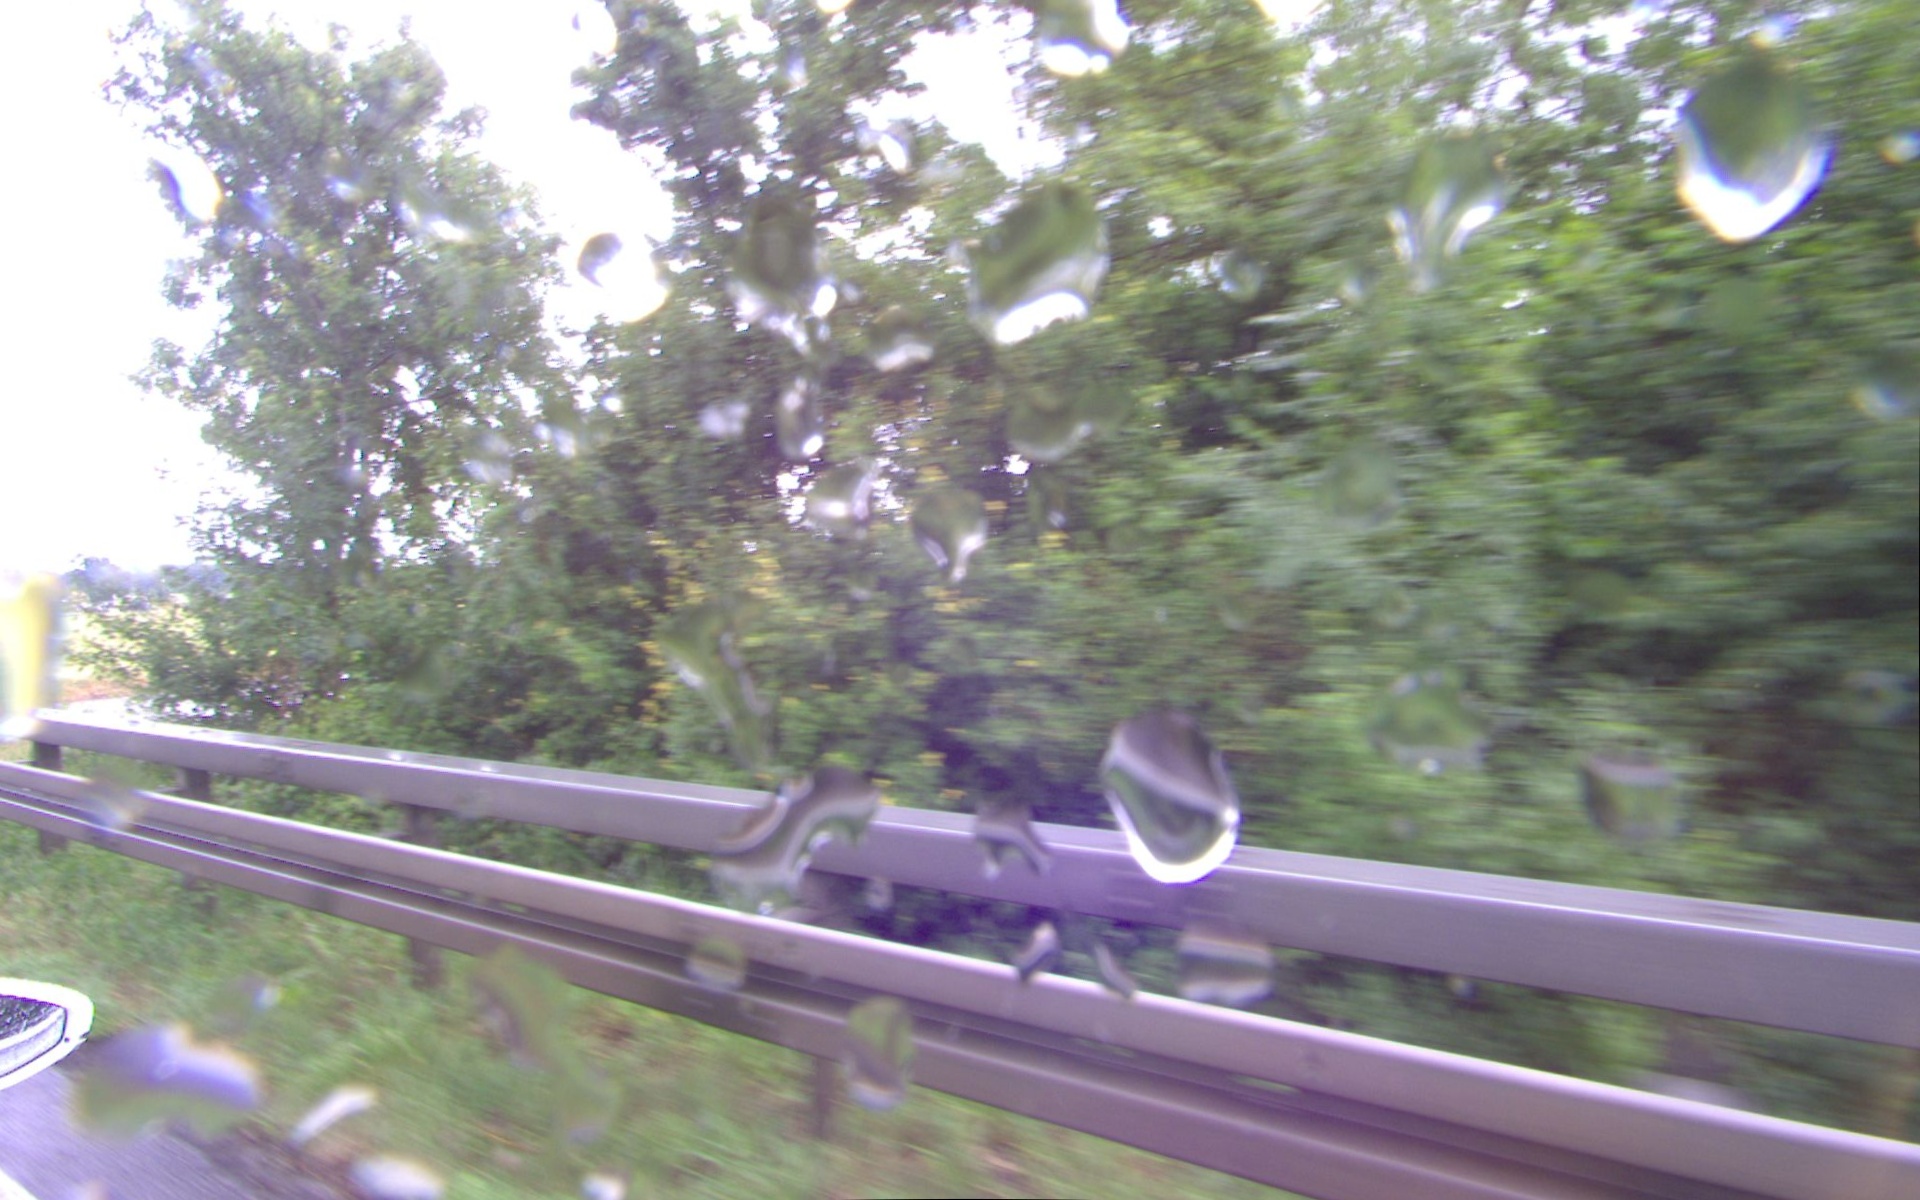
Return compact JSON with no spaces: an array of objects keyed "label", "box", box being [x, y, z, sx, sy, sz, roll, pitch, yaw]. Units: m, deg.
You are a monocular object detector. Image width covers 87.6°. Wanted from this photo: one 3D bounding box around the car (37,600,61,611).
[{"label":"car","box":[-174.337,1.058,191.642,2.113,2.039,3.989,0,-2,-22]}]
